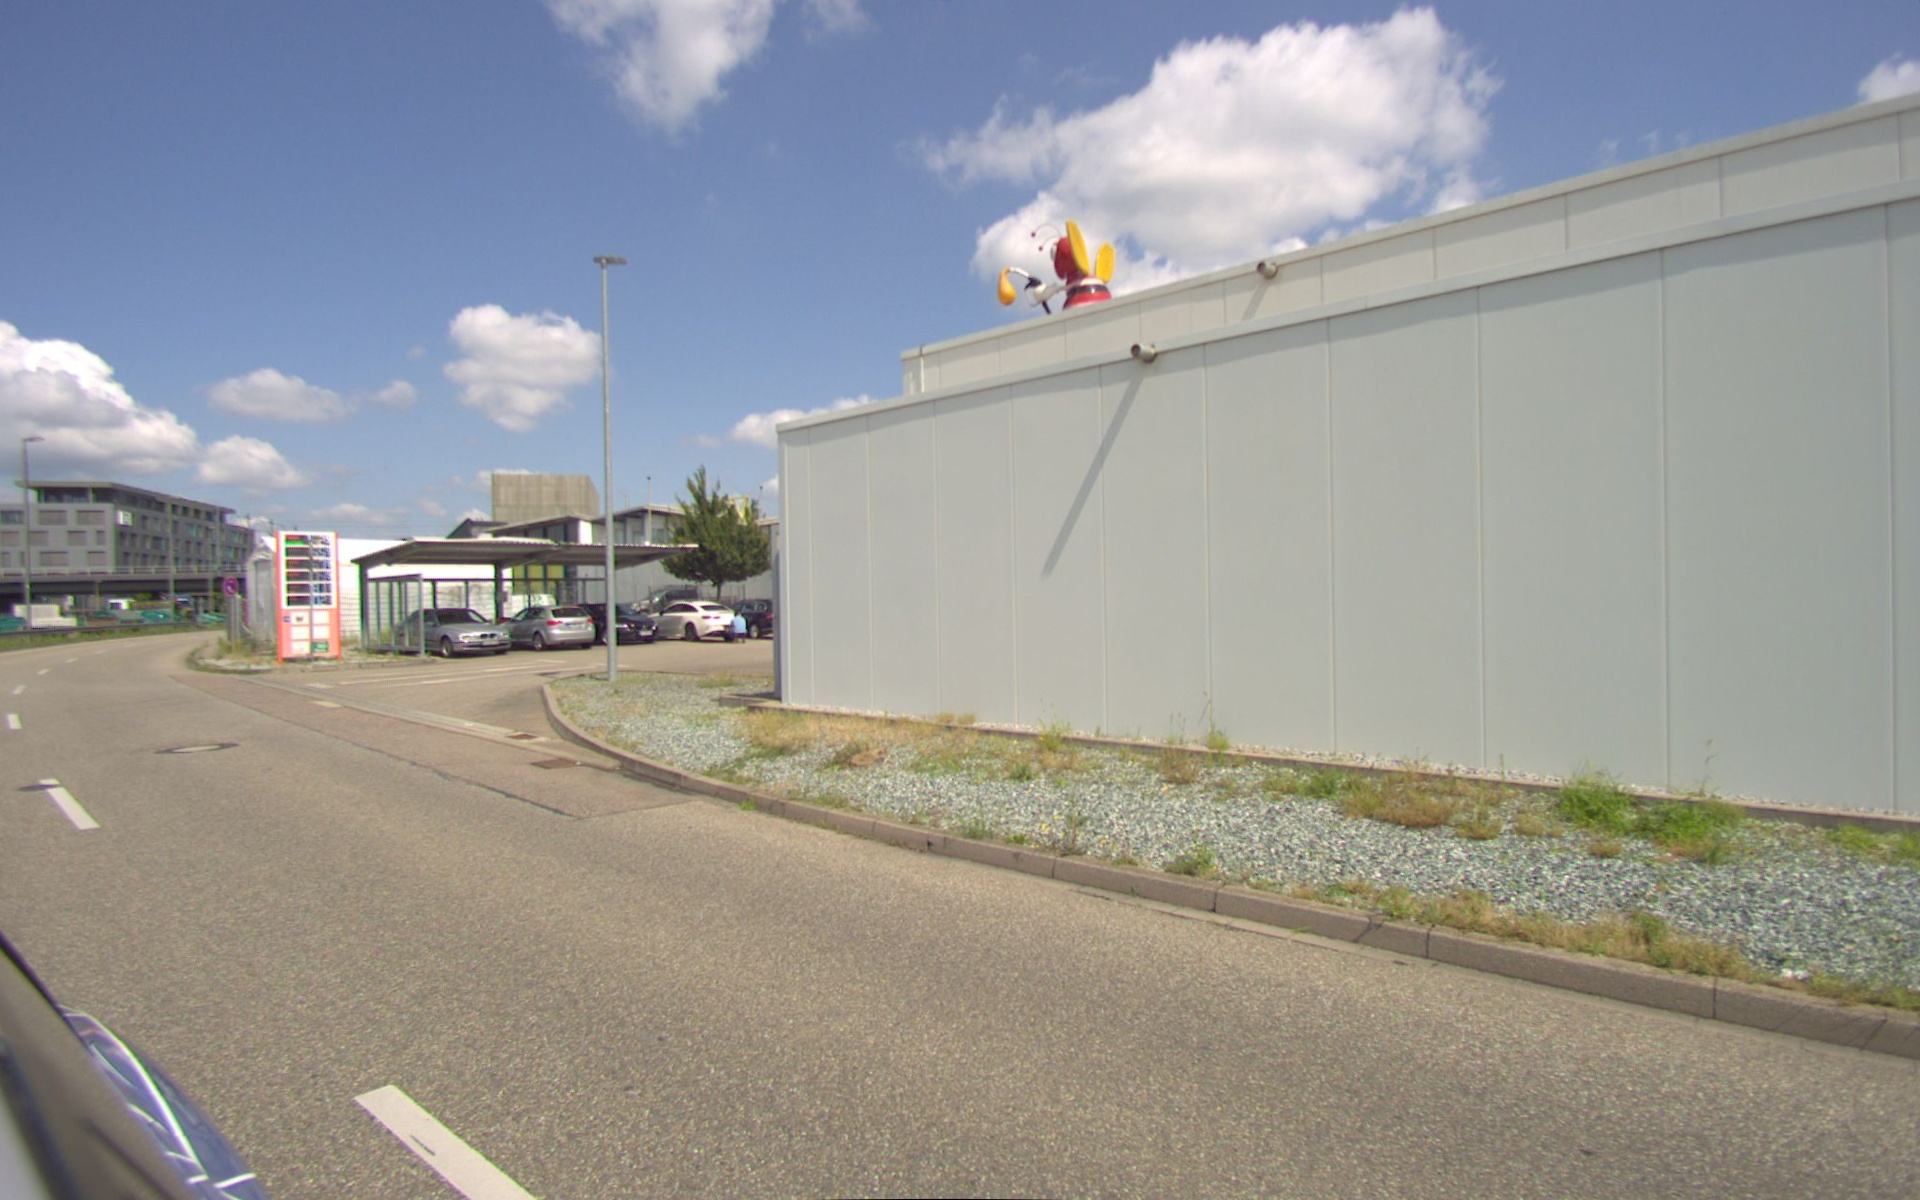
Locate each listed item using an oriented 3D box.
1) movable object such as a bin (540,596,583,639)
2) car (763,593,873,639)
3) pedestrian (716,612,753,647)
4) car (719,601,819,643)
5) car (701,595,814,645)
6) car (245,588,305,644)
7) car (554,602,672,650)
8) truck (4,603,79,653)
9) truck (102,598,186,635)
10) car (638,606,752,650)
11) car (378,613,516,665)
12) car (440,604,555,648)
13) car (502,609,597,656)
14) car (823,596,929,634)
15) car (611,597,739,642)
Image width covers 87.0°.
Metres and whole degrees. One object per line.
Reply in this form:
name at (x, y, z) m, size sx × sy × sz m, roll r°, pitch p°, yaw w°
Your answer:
movable object such as a bin at (-21.062, 0.915, 53.533) m, size 1.610 × 2.121 × 2.381 m, roll -3°, pitch 0°, yaw -10°
car at (-5.836, 0.651, 41.305) m, size 4.596 × 1.791 × 1.973 m, roll -1°, pitch -1°, yaw 41°
pedestrian at (-7.672, 0.999, 34.450) m, size 0.998 × 1.134 × 0.800 m, roll -1°, pitch -1°, yaw 41°
car at (-9.819, 1.106, 52.287) m, size 2.000 × 2.029 × 4.786 m, roll -1°, pitch -1°, yaw 43°
car at (-7.845, 0.751, 38.896) m, size 4.598 × 1.780 × 1.971 m, roll -1°, pitch -1°, yaw 44°
car at (-33.594, 0.813, 49.542) m, size 2.091 × 2.556 × 6.732 m, roll 0°, pitch -1°, yaw -37°
car at (-11.948, 0.885, 34.700) m, size 4.250 × 1.509 × 1.973 m, roll -2°, pitch 0°, yaw 41°
truck at (-67.076, 1.993, 73.846) m, size 8.106 × 3.445 × 2.956 m, roll -1°, pitch -1°, yaw 40°
truck at (-71.573, 1.415, 88.830) m, size 5.420 × 3.121 × 2.006 m, roll -1°, pitch -1°, yaw -17°
car at (-9.496, 0.980, 36.161) m, size 4.314 × 1.448 × 1.870 m, roll -1°, pitch -1°, yaw 41°
car at (-15.579, 1.138, 30.644) m, size 4.785 × 1.388 × 1.899 m, roll -1°, pitch 1°, yaw 39°
car at (-20.680, 1.136, 45.410) m, size 4.344 × 1.846 × 2.004 m, roll -1°, pitch 0°, yaw -9°
car at (-13.005, 1.012, 31.988) m, size 3.054 × 1.355 × 1.577 m, roll -1°, pitch 1°, yaw 41°
car at (-3.672, 0.628, 43.756) m, size 4.596 × 1.564 × 1.973 m, roll -1°, pitch -1°, yaw 41°
car at (-13.459, 0.883, 48.092) m, size 2.000 × 2.029 × 5.620 m, roll -1°, pitch -1°, yaw 43°
